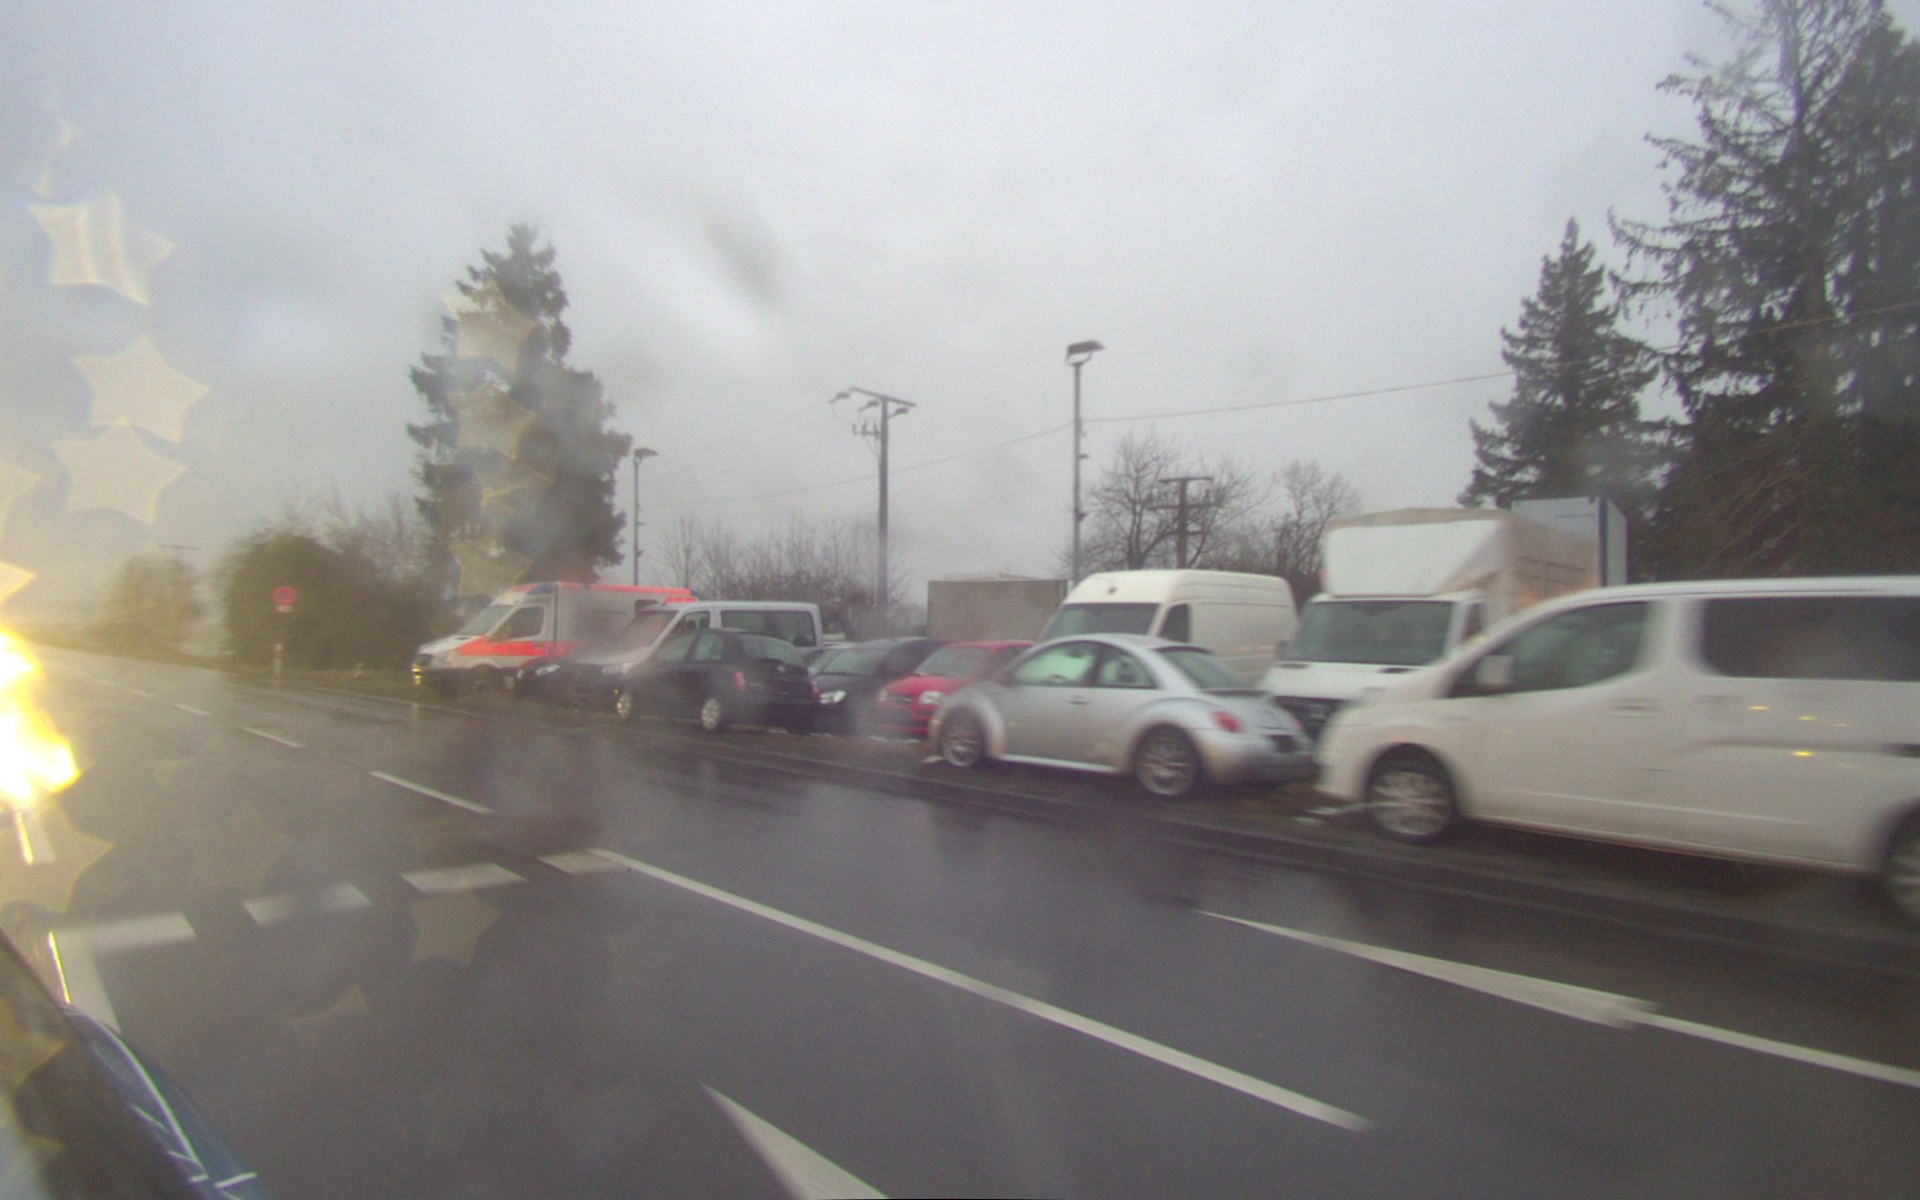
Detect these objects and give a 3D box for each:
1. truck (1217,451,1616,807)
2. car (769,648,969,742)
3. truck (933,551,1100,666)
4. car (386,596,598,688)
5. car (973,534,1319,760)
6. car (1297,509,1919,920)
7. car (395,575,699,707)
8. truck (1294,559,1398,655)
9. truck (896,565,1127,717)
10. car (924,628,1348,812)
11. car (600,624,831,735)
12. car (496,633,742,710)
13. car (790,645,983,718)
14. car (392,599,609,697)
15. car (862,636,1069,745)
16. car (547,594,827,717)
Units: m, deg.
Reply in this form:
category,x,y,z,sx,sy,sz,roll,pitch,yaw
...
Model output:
category,x,y,z,sx,sy,sz,roll,pitch,yaw
truck,5.855,0.362,12.272,2.334,3.166,6.783,-2,-3,43
car,-1.454,1.520,17.066,1.479,1.338,3.269,-1,-2,40
truck,2.575,0.328,42.201,2.998,4.293,8.615,-1,0,33
car,-13.279,1.252,28.981,2.080,2.408,5.047,-2,-4,42
car,2.979,0.671,14.868,2.196,2.659,5.966,-2,-3,42
car,4.669,0.603,6.434,1.813,2.029,4.488,2,-2,-43
car,-9.322,1.007,23.385,2.177,2.652,6.086,-2,-4,44
truck,11.886,0.240,30.992,2.226,2.717,4.676,-1,-1,30
truck,1.193,1.050,25.878,5.849,3.481,2.010,-2,-5,41
car,1.531,1.000,9.800,1.630,1.423,3.844,3,-3,-43
car,-3.691,1.135,14.935,1.632,1.431,3.744,3,-5,-44
car,-7.329,1.547,22.104,1.956,1.494,4.695,-2,-5,44
car,-1.471,1.668,21.425,1.840,1.394,3.946,-3,-4,40
car,-11.739,1.264,26.085,1.988,2.290,4.614,-2,-4,44
car,0.157,1.329,15.709,1.498,1.503,3.194,-2,-3,41
car,-5.367,1.145,20.466,2.059,2.167,5.087,-2,-5,44
